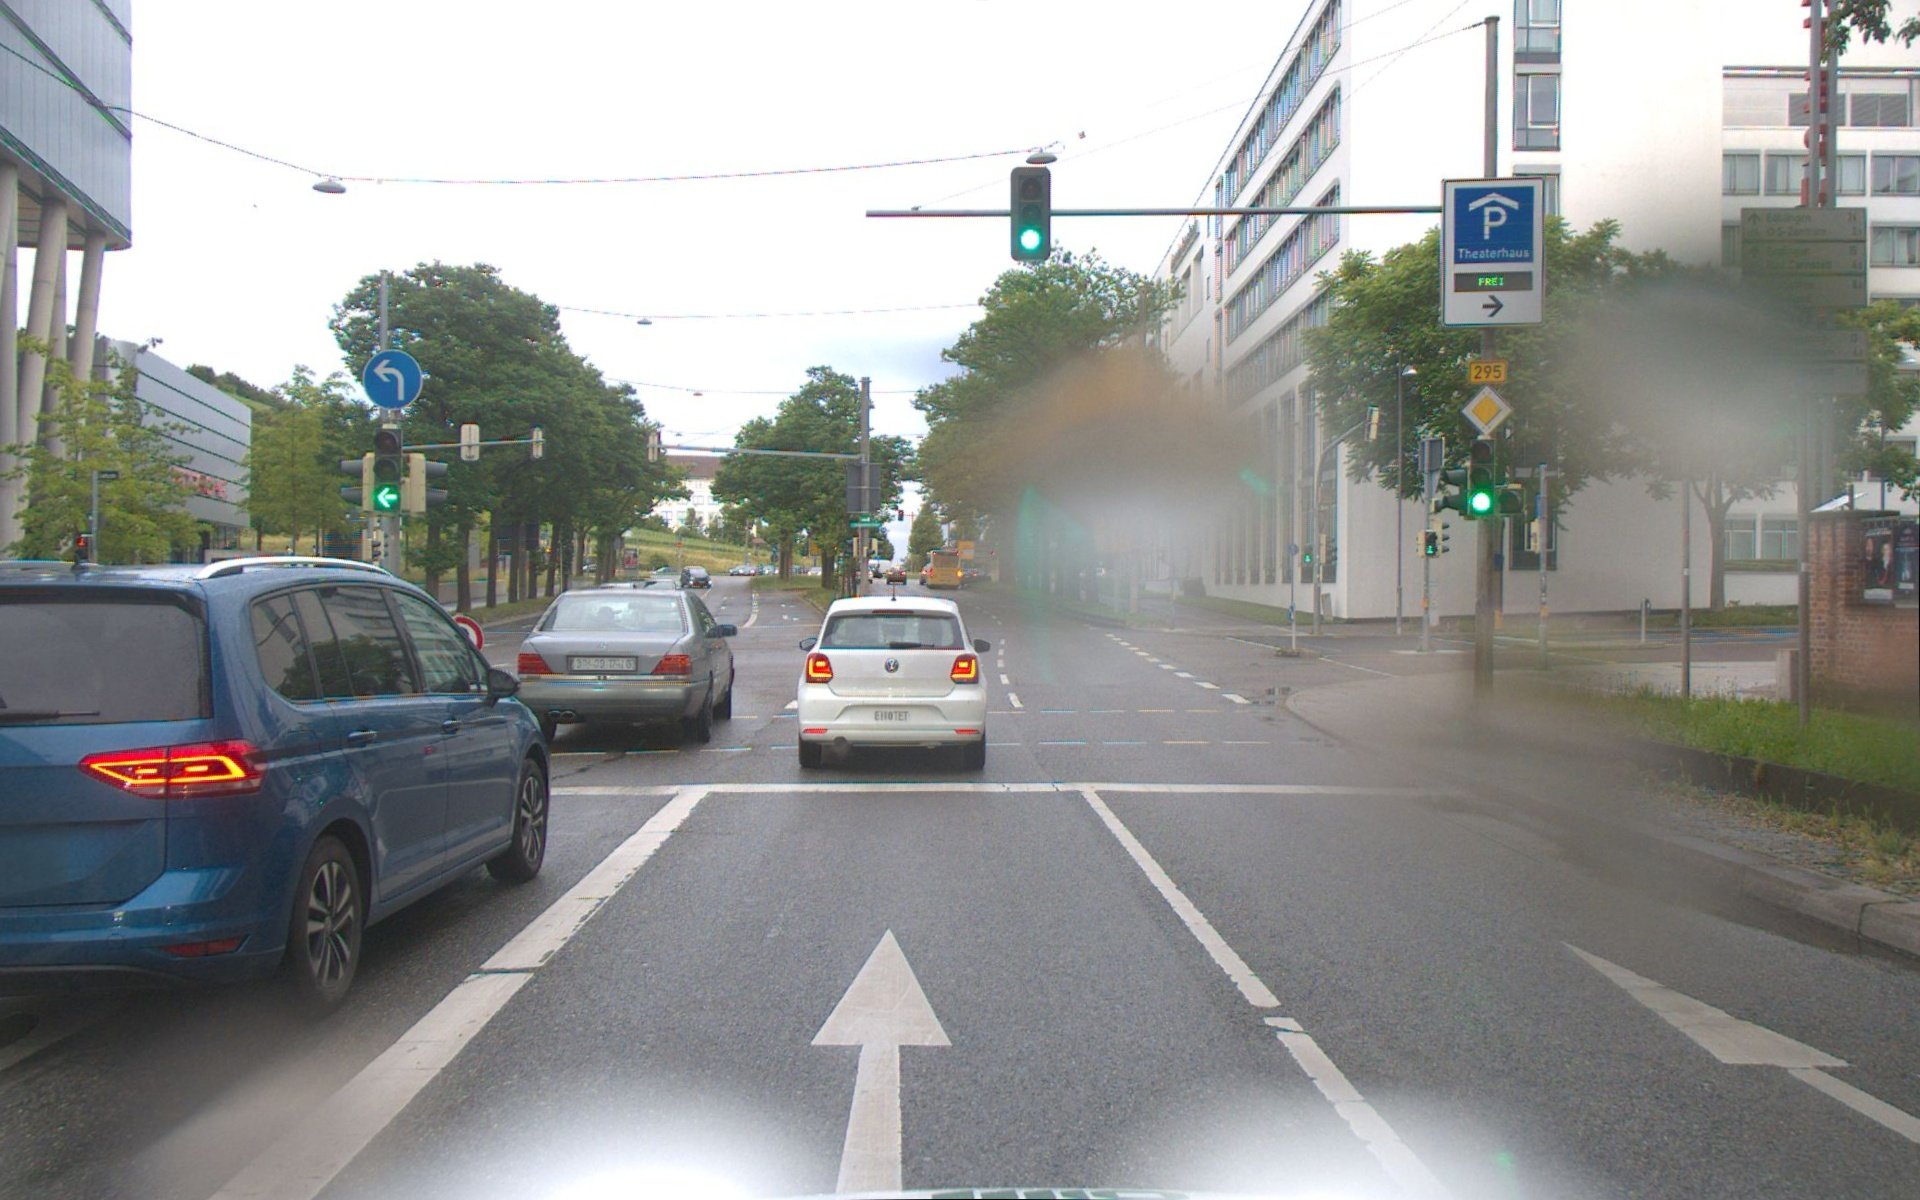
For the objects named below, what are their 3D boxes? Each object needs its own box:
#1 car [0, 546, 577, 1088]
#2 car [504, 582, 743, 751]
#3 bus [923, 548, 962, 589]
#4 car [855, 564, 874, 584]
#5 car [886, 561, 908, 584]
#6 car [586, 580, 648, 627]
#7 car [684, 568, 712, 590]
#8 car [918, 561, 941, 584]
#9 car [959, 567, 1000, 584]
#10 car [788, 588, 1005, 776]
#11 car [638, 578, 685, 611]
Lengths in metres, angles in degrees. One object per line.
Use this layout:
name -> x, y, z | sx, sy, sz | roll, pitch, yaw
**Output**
car -> -3.013, 0.647, 7.079 | 1.736, 1.624, 4.197 | -1, 0, 0
car -> -3.367, 0.601, 17.296 | 1.810, 1.537, 4.046 | -1, 0, -2
bus -> -1.527, -2.659, 138.075 | 2.772, 3.323, 9.995 | 1, 1, -3
car -> -8.789, -2.355, 151.942 | 1.759, 1.772, 3.997 | -1, 1, -4
car -> -5.725, -2.465, 150.285 | 1.954, 2.049, 3.998 | 0, 0, -3
car -> -11.998, 0.094, 57.990 | 1.716, 1.547, 3.813 | -1, 1, -6
car -> -20.973, -1.675, 132.411 | 1.955, 1.644, 5.114 | -2, 2, -7
car -> -2.805, -2.480, 151.544 | 1.954, 2.049, 3.998 | 0, 0, -3
car -> 1.827, -2.222, 150.401 | 1.670, 1.542, 3.805 | 0, 0, 42
car -> -0.581, 0.663, 15.557 | 1.758, 1.528, 3.999 | 1, 0, -2
car -> -14.051, -0.271, 78.098 | 1.779, 1.436, 4.650 | -2, 1, -6
